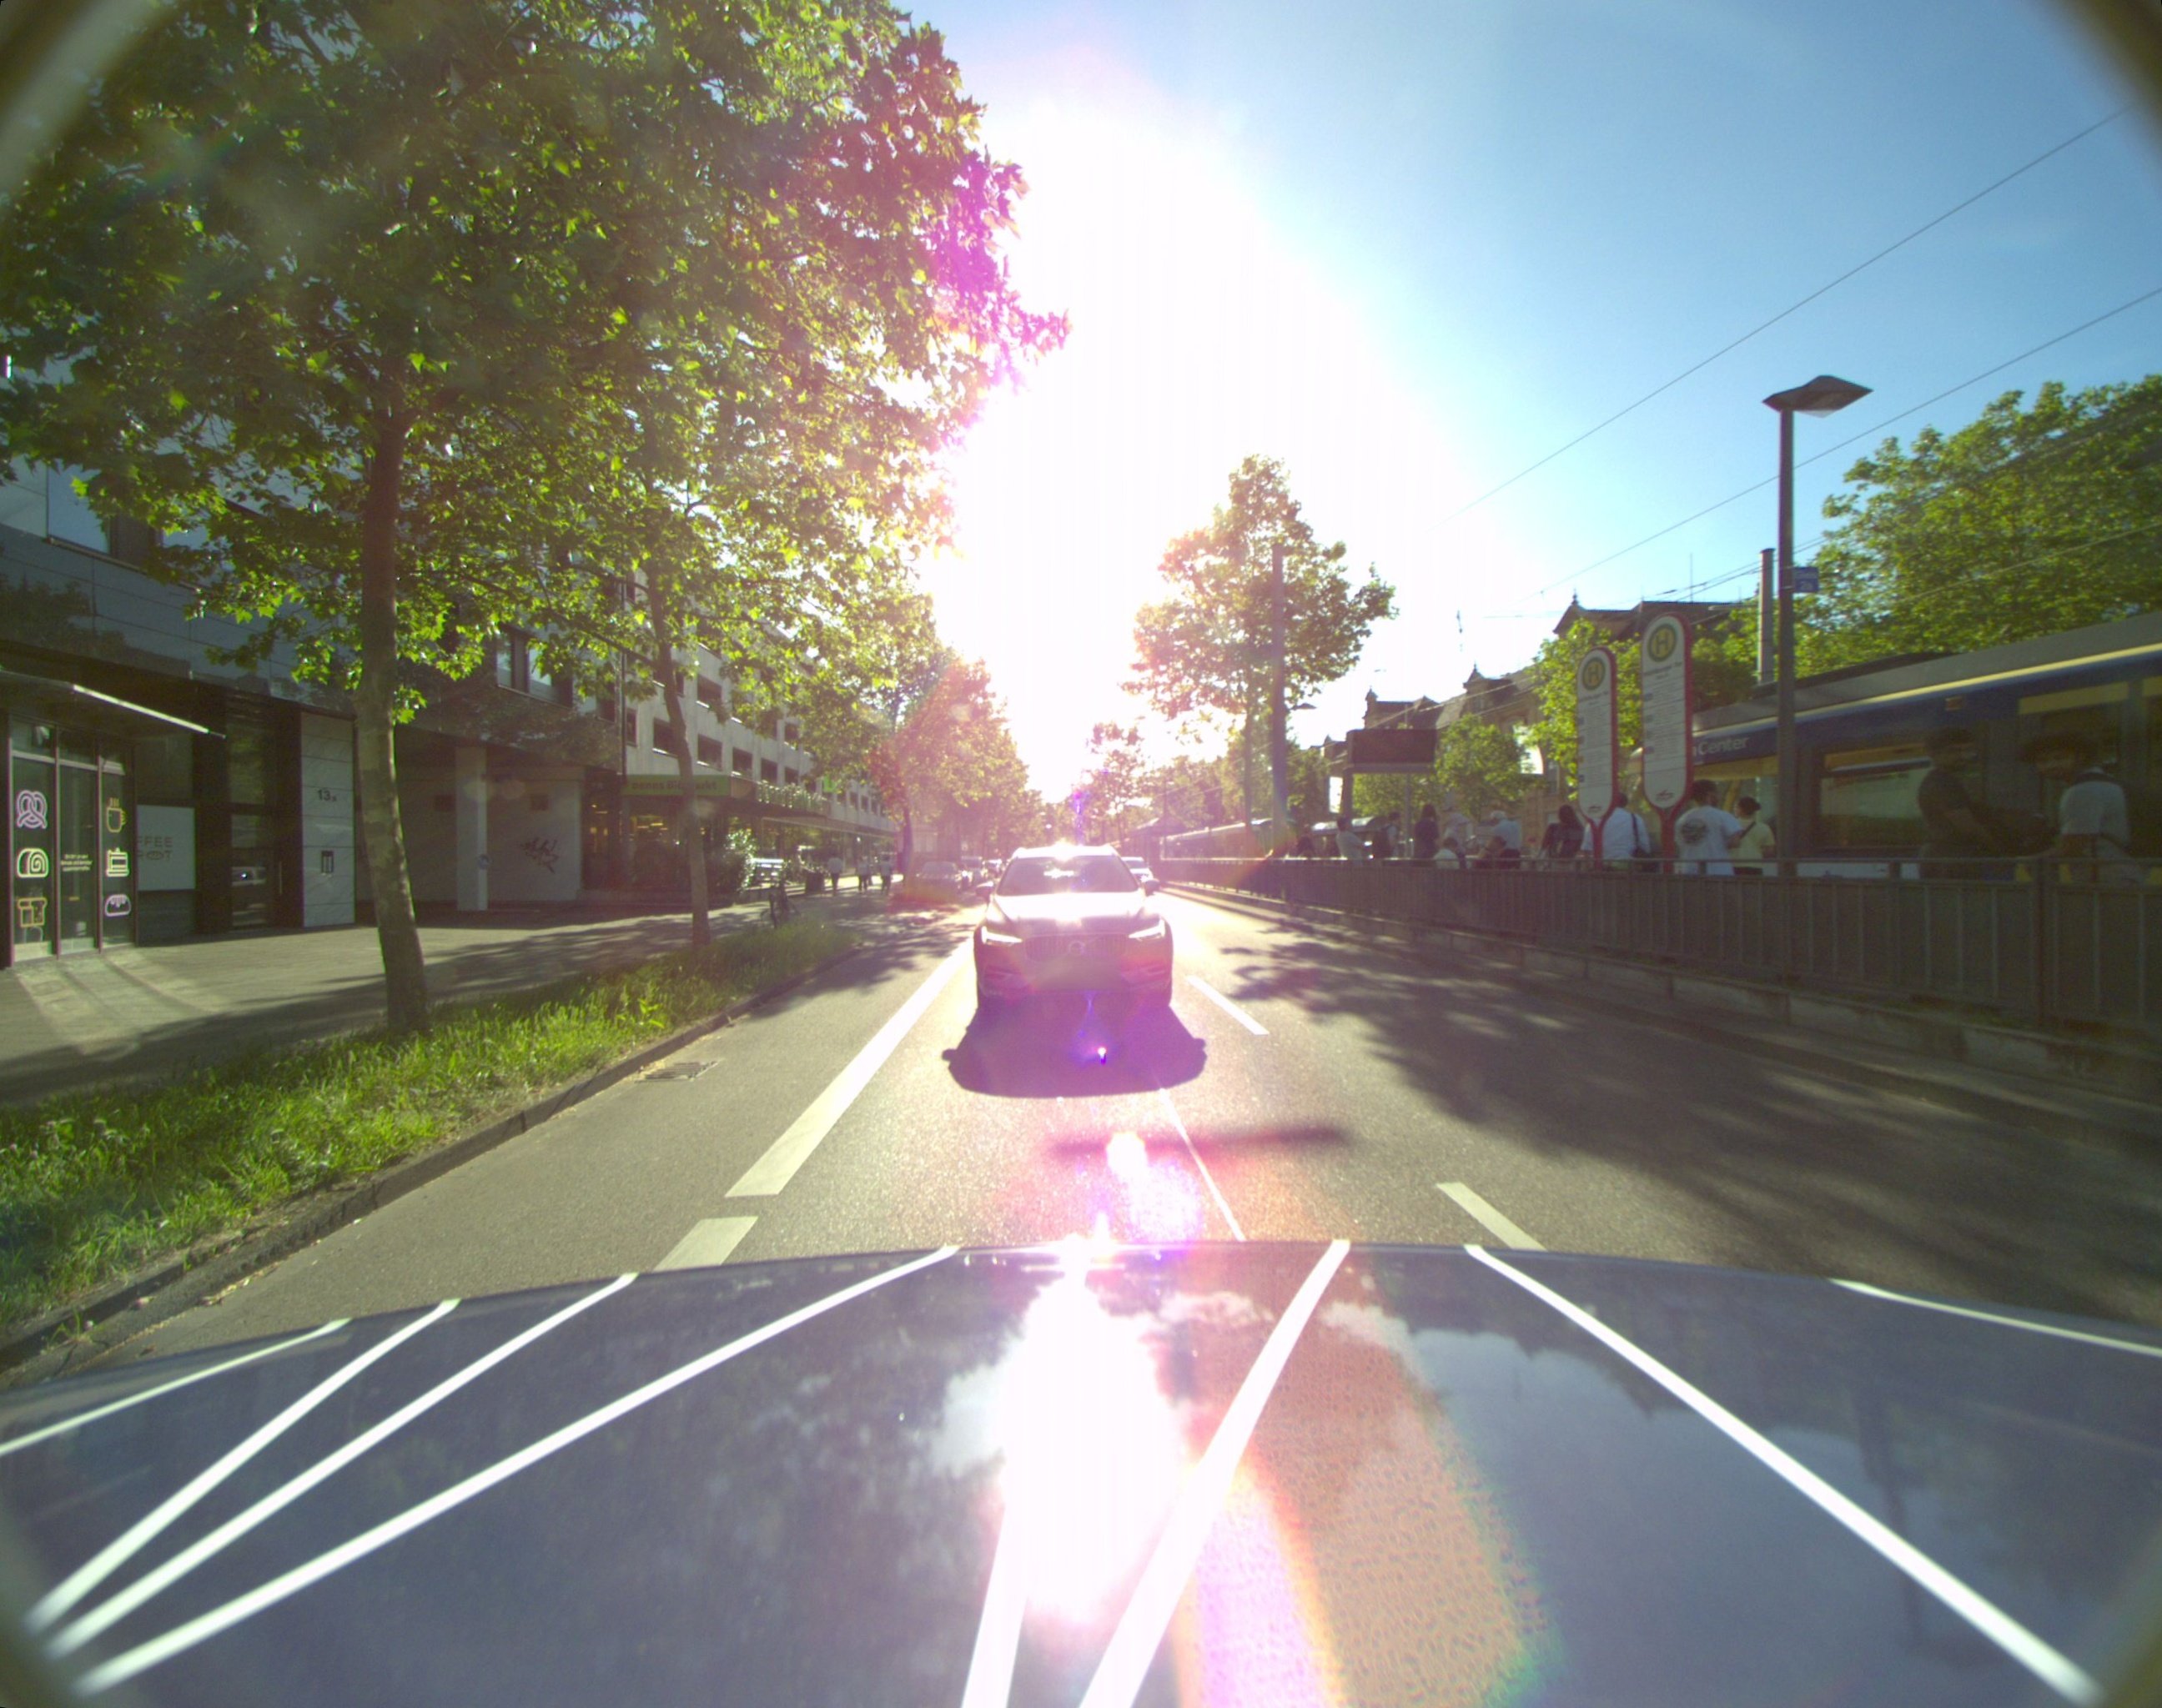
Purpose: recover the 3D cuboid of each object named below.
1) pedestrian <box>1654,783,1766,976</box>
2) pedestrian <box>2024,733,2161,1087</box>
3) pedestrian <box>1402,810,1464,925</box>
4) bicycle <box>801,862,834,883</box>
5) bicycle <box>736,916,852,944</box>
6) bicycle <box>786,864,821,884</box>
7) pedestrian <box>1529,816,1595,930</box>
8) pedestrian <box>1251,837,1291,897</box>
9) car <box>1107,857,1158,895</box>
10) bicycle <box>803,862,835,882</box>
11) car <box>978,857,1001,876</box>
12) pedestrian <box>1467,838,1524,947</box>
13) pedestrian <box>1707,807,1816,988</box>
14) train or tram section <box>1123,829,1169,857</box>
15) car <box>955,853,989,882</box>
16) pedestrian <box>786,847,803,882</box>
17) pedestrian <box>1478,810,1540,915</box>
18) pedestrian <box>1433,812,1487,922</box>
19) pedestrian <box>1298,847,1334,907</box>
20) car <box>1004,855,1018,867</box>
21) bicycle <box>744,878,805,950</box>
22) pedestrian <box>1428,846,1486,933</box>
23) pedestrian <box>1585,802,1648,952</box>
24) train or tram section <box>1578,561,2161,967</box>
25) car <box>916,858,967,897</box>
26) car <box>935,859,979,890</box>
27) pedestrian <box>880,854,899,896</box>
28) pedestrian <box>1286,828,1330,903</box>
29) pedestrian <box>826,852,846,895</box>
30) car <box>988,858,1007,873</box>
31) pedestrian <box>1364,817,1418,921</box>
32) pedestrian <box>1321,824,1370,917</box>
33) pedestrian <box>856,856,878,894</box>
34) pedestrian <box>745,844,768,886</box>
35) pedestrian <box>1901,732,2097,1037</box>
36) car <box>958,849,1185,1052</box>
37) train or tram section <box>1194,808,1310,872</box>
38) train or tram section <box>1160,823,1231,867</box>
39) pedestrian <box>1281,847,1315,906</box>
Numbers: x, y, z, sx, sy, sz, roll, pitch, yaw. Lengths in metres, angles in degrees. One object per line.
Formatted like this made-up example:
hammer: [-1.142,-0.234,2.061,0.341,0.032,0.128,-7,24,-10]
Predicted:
pedestrian: [5.778,0.223,7.006,0.507,1.692,0.611,0,1,-7]
pedestrian: [5.414,0.274,3.929,0.538,1.724,0.551,0,1,35]
pedestrian: [5.310,0.196,11.494,0.662,1.686,0.570,0,1,-2]
bicycle: [-14.311,0.995,41.257,1.700,1.049,0.587,1,-1,24]
bicycle: [-5.150,1.368,13.779,1.613,0.351,1.388,0,0,-3]
bicycle: [-13.657,0.992,37.409,1.648,0.910,0.587,1,-2,24]
pedestrian: [6.534,0.252,10.334,0.546,1.510,0.530,0,1,-3]
pedestrian: [4.858,0.336,19.468,0.778,1.501,0.751,0,0,-6]
car: [2.039,0.860,31.214,1.707,1.407,3.875,-2,0,-1]
bicycle: [-14.562,0.995,42.267,1.700,1.049,0.587,2,0,24]
car: [-7.778,1.055,64.885,1.678,1.430,3.688,2,1,-4]
pedestrian: [5.142,0.465,9.450,0.417,1.308,0.507,0,1,-5]
pedestrian: [6.896,0.423,7.724,0.555,1.760,0.611,0,1,-7]
train or tram section: [6.312,-0.974,76.252,2.570,2.516,15.068,-1,0,-3]
car: [-7.032,0.872,49.456,1.769,1.781,4.392,0,0,-2]
pedestrian: [-14.470,0.535,38.370,0.614,1.705,0.611,6,-1,-27]
pedestrian: [6.855,0.129,12.200,0.620,1.640,0.622,0,1,-7]
pedestrian: [5.986,0.197,12.017,0.516,1.698,0.621,0,1,-3]
pedestrian: [4.929,0.469,15.953,0.535,1.239,0.604,0,1,-5]
car: [-9.818,1.007,106.636,1.839,1.556,4.272,-2,0,-3]
bicycle: [-5.389,1.016,13.452,0.791,1.126,1.843,0,0,-15]
pedestrian: [5.286,0.486,10.694,0.546,1.185,0.530,0,1,-3]
pedestrian: [6.285,0.264,8.942,0.506,1.692,0.612,0,1,25]
train or tram section: [10.167,-0.747,4.784,2.922,3.241,15.885,-3,1,-3]
car: [-5.969,0.977,32.894,1.569,1.541,3.999,-1,0,-2]
car: [-6.453,1.032,39.946,1.766,1.409,4.698,-1,0,-4]
pedestrian: [-7.878,0.836,31.298,0.561,1.694,1.051,0,0,-3]
pedestrian: [5.405,0.269,18.096,0.778,1.742,0.723,0,1,-6]
pedestrian: [-9.994,0.801,31.041,0.561,1.734,0.878,0,0,-3]
car: [-8.278,1.101,75.529,1.630,1.433,3.929,1,0,-3]
pedestrian: [5.143,0.245,12.643,0.662,1.686,0.570,0,1,-2]
pedestrian: [4.722,0.290,13.569,0.662,1.624,0.570,0,1,-2]
pedestrian: [-9.167,0.885,32.541,0.699,1.603,0.868,1,0,-1]
pedestrian: [-13.236,0.445,30.999,0.559,1.668,0.882,2,1,-3]
pedestrian: [5.526,0.174,4.599,0.549,1.724,0.539,0,1,-7]
car: [-0.184,0.817,8.700,1.914,1.695,4.272,-2,1,-3]
train or tram section: [10.855,-0.769,51.279,2.857,3.414,18.209,-2,0,-3]
train or tram section: [10.029,-0.723,69.506,2.879,3.414,18.270,-2,0,-3]
pedestrian: [4.893,0.496,17.140,0.535,1.292,0.604,0,1,-6]
